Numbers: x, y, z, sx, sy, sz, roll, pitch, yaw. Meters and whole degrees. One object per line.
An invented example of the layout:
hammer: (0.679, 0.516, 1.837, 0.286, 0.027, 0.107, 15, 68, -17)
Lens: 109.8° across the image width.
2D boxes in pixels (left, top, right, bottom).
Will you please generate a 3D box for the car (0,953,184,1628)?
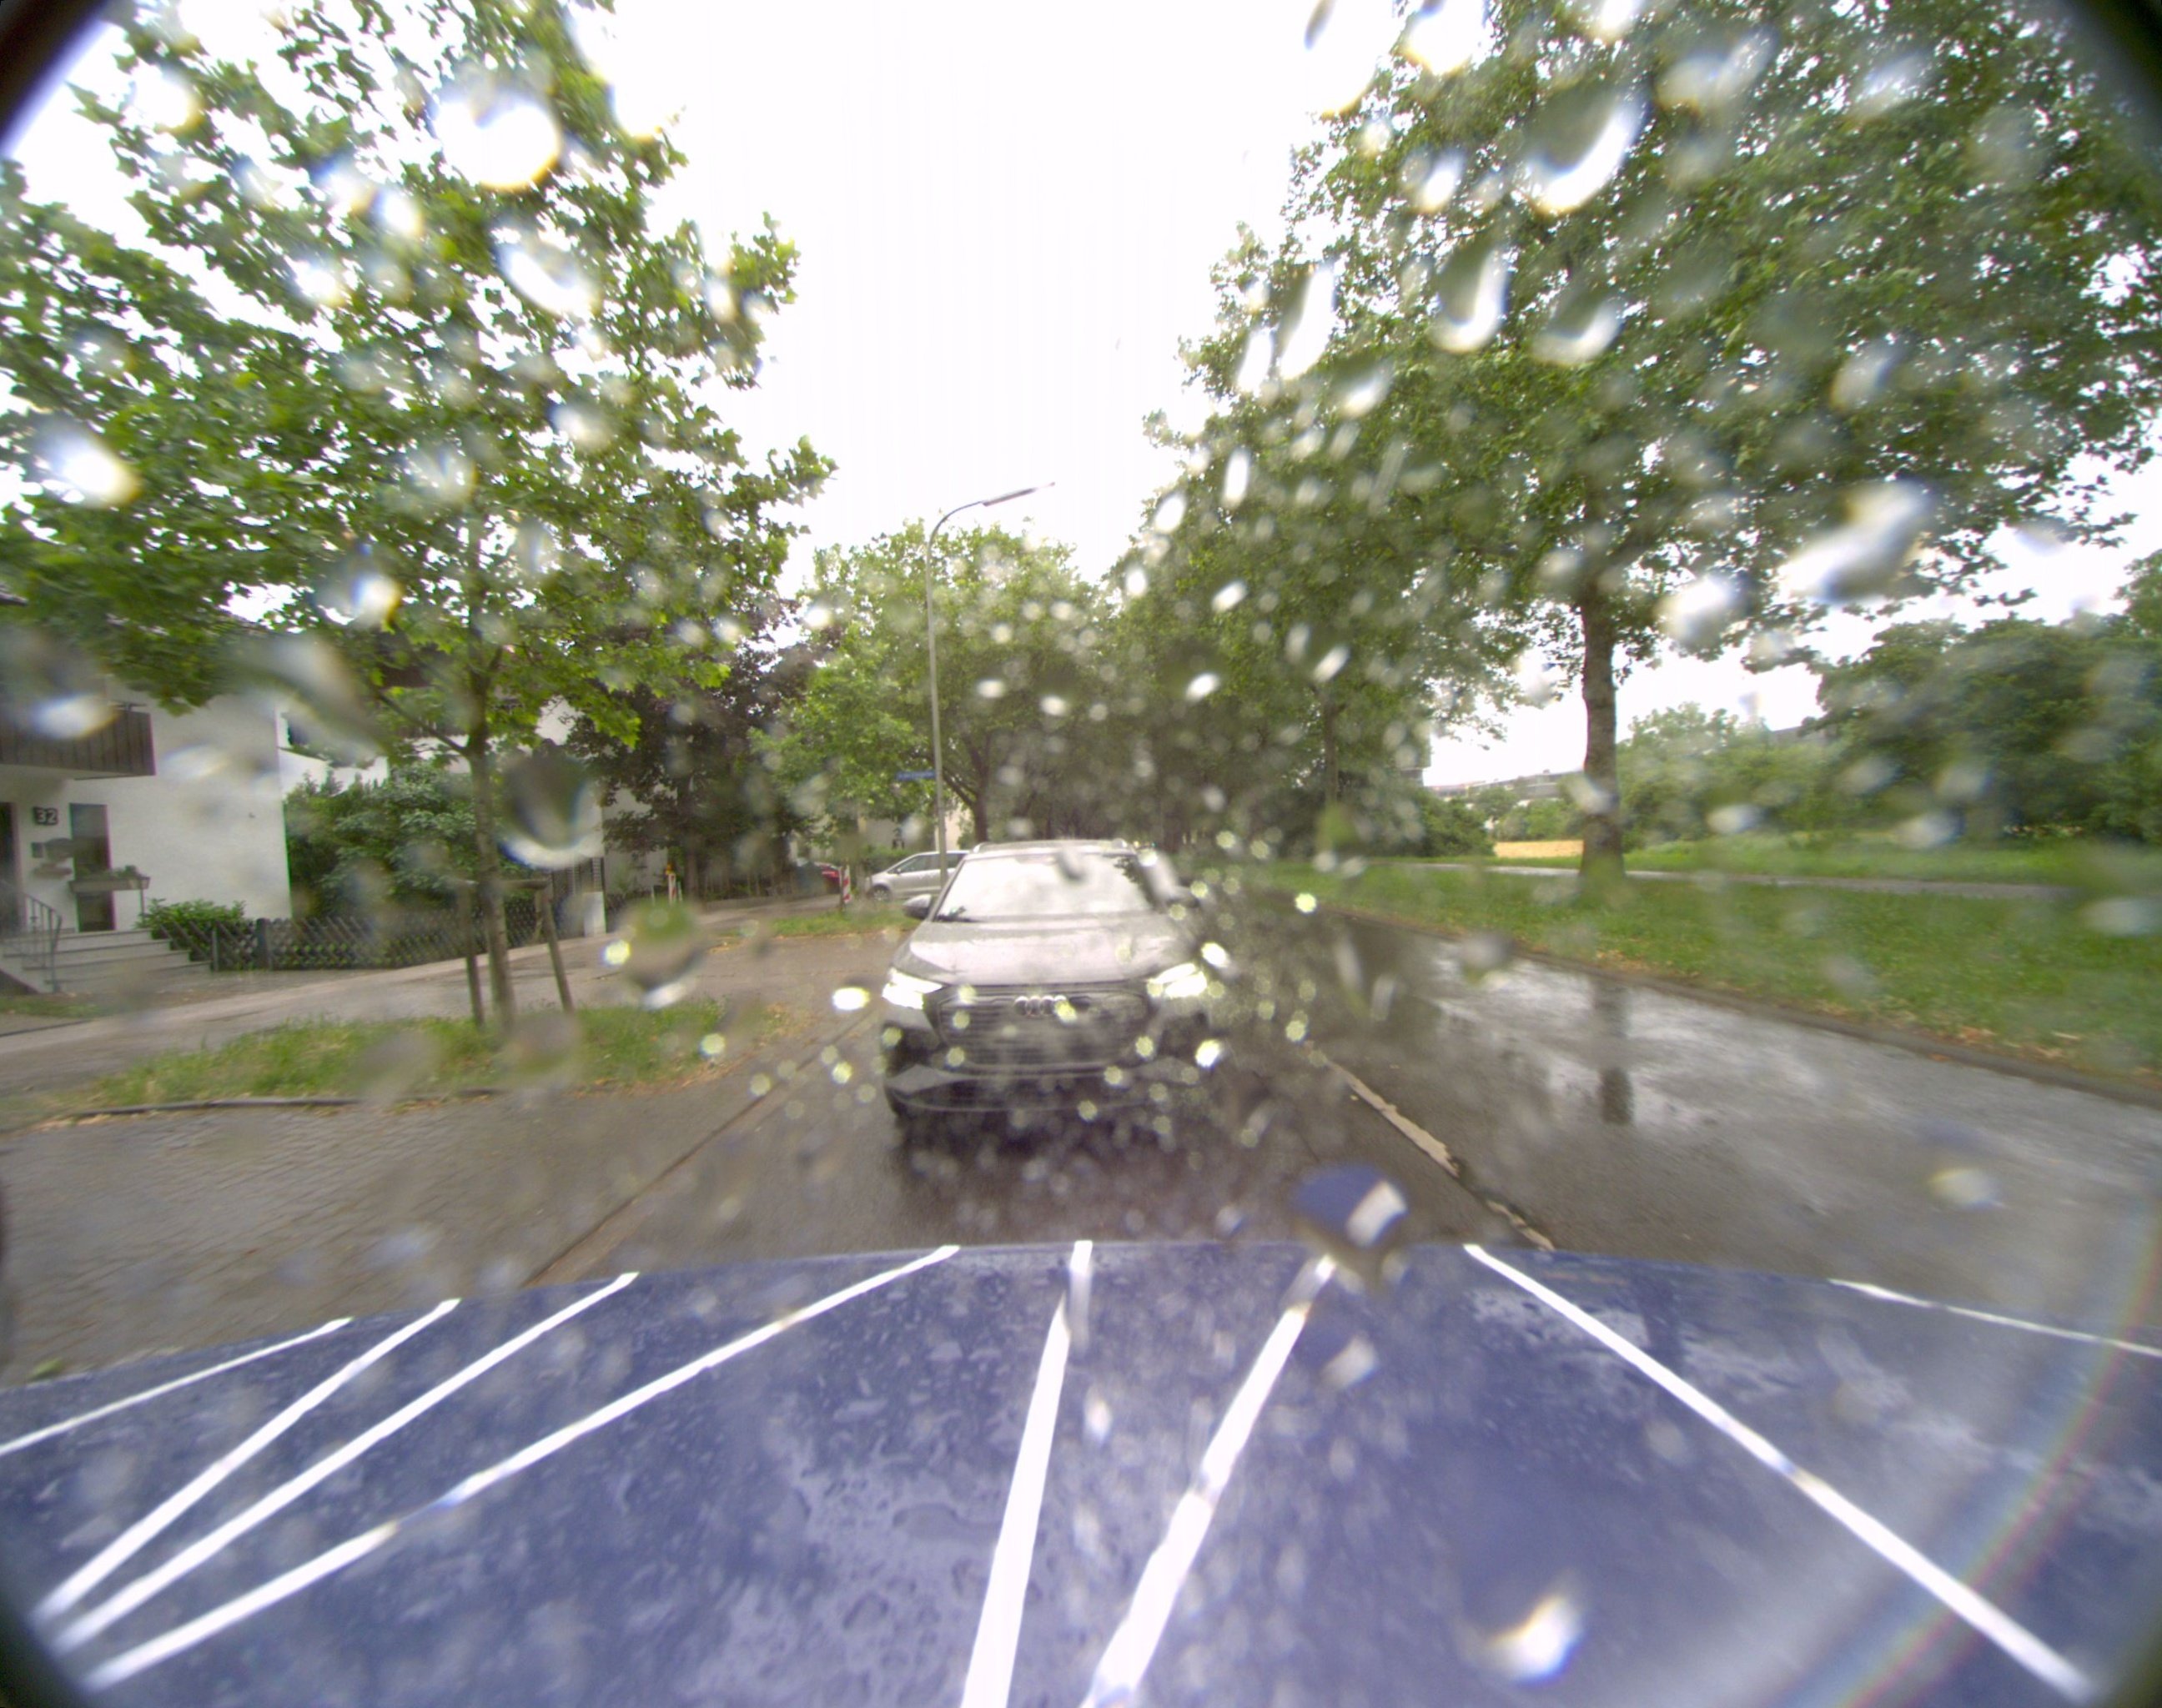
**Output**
car: (-4.790, 1.096, 0.926, 4.779, 1.464, 1.937, -2, 1, -4)

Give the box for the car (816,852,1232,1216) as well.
car: (-0.226, 0.835, 5.738, 1.862, 1.608, 4.423, -2, 0, 1)

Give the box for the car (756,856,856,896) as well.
car: (-12.657, 1.003, 35.081, 3.853, 1.603, 1.843, -2, 1, 2)

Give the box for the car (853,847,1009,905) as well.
car: (-4.851, 0.699, 25.090, 4.701, 1.651, 1.976, -2, 1, -1)
